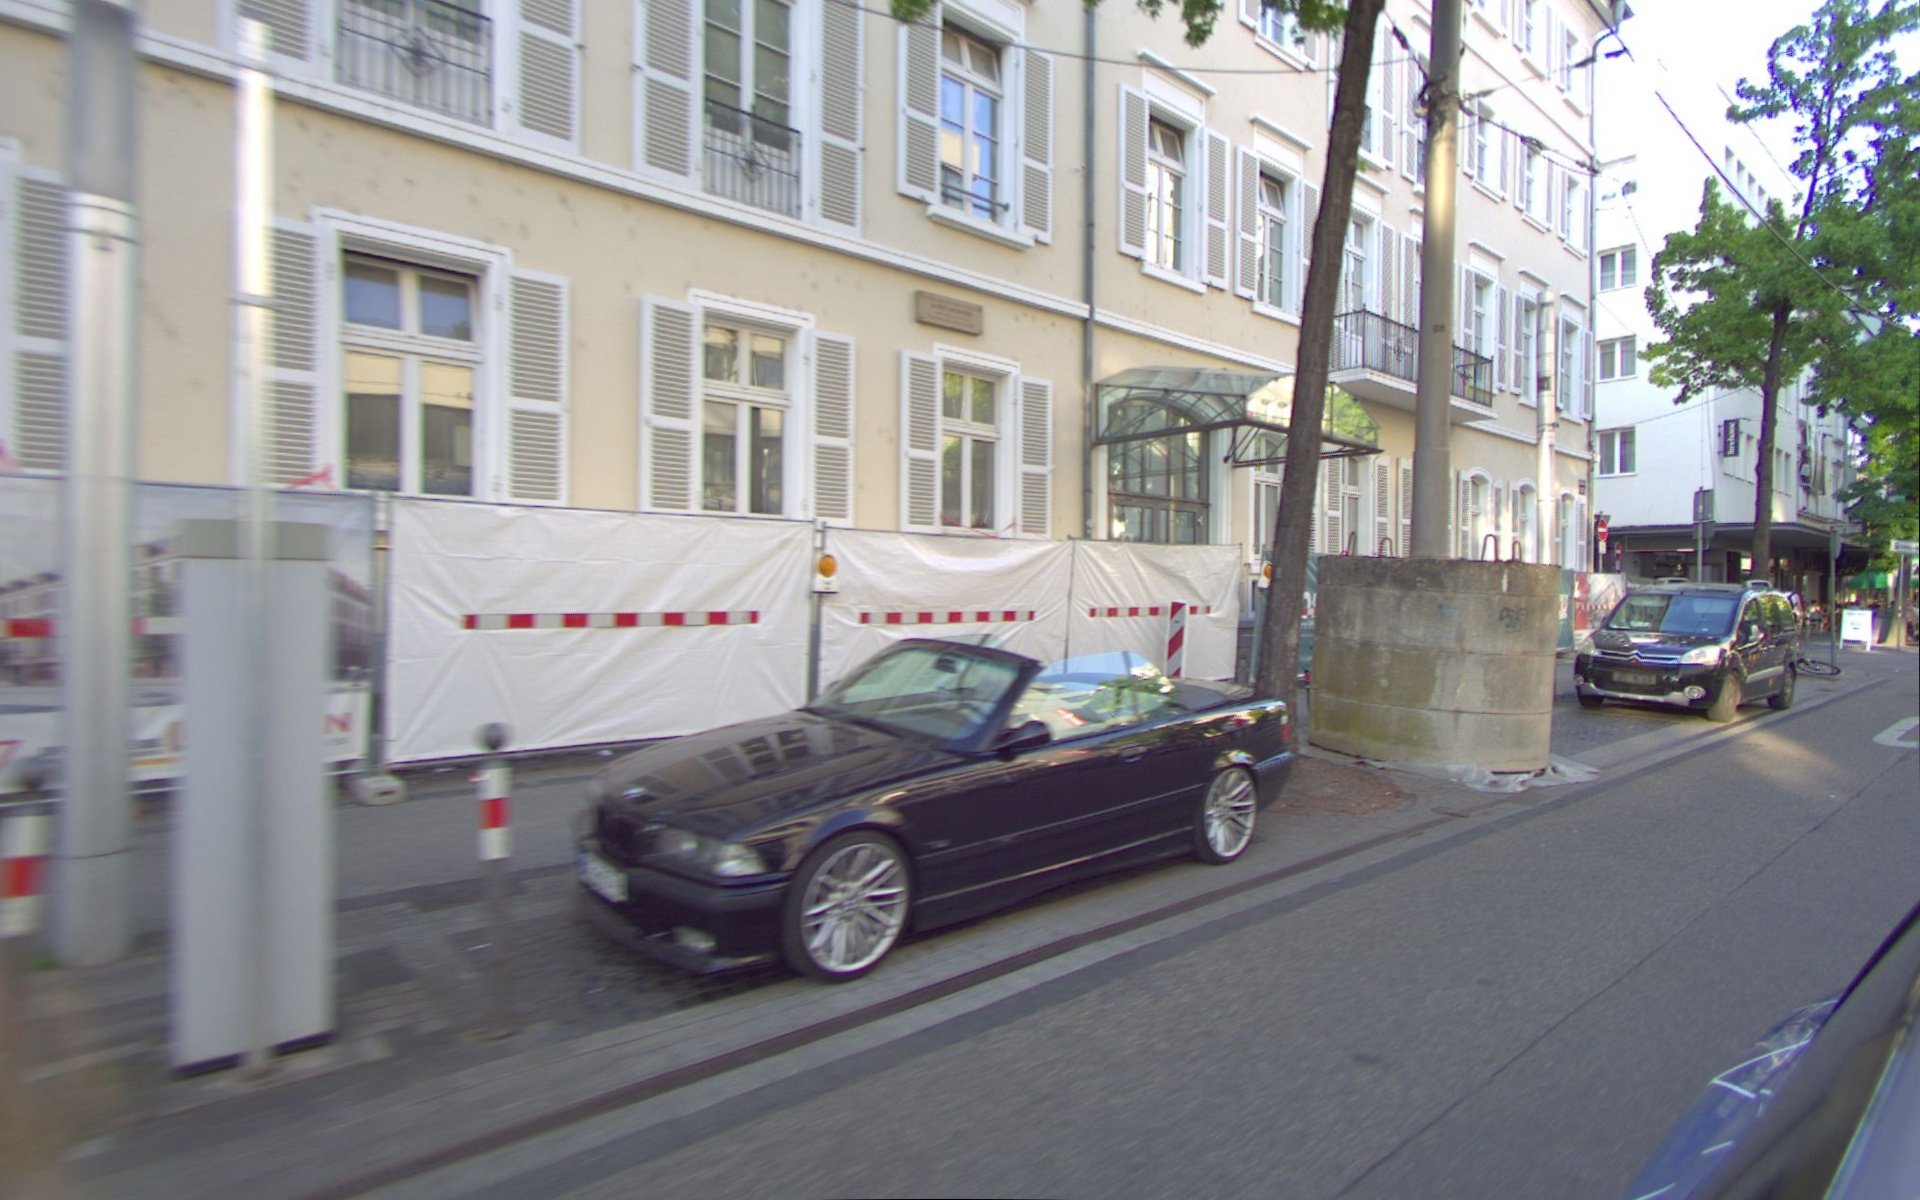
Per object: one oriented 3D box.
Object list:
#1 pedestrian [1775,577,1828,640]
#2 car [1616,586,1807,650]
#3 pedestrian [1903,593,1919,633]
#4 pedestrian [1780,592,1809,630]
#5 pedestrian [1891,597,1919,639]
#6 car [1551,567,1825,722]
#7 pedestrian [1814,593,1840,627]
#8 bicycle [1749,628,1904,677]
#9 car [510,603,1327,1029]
[{"bbox_3d":[25.478,0.233,30.644,1.050,1.837,0.946,-2,1,-33],"label":"pedestrian"},{"bbox_3d":[21.032,0.436,28.458,1.831,1.628,3.944,-2,2,-33],"label":"car"},{"bbox_3d":[32.403,0.432,34.202,0.613,1.346,0.716,1,0,-39],"label":"pedestrian"},{"bbox_3d":[30.516,0.400,37.008,0.613,1.346,0.716,1,0,-39],"label":"pedestrian"},{"bbox_3d":[31.461,0.587,33.612,0.613,1.346,0.716,1,0,-39],"label":"pedestrian"},{"bbox_3d":[10.269,0.498,14.176,4.236,1.815,1.958,0,3,-38],"label":"car"},{"bbox_3d":[35.045,0.400,40.913,0.613,1.346,0.716,1,0,-39],"label":"pedestrian"},{"bbox_3d":[16.683,0.992,19.534,1.531,0.757,1.761,0,2,-23],"label":"bicycle"},{"bbox_3d":[0.052,0.744,5.521,4.254,1.327,1.798,0,3,-41],"label":"car"}]
